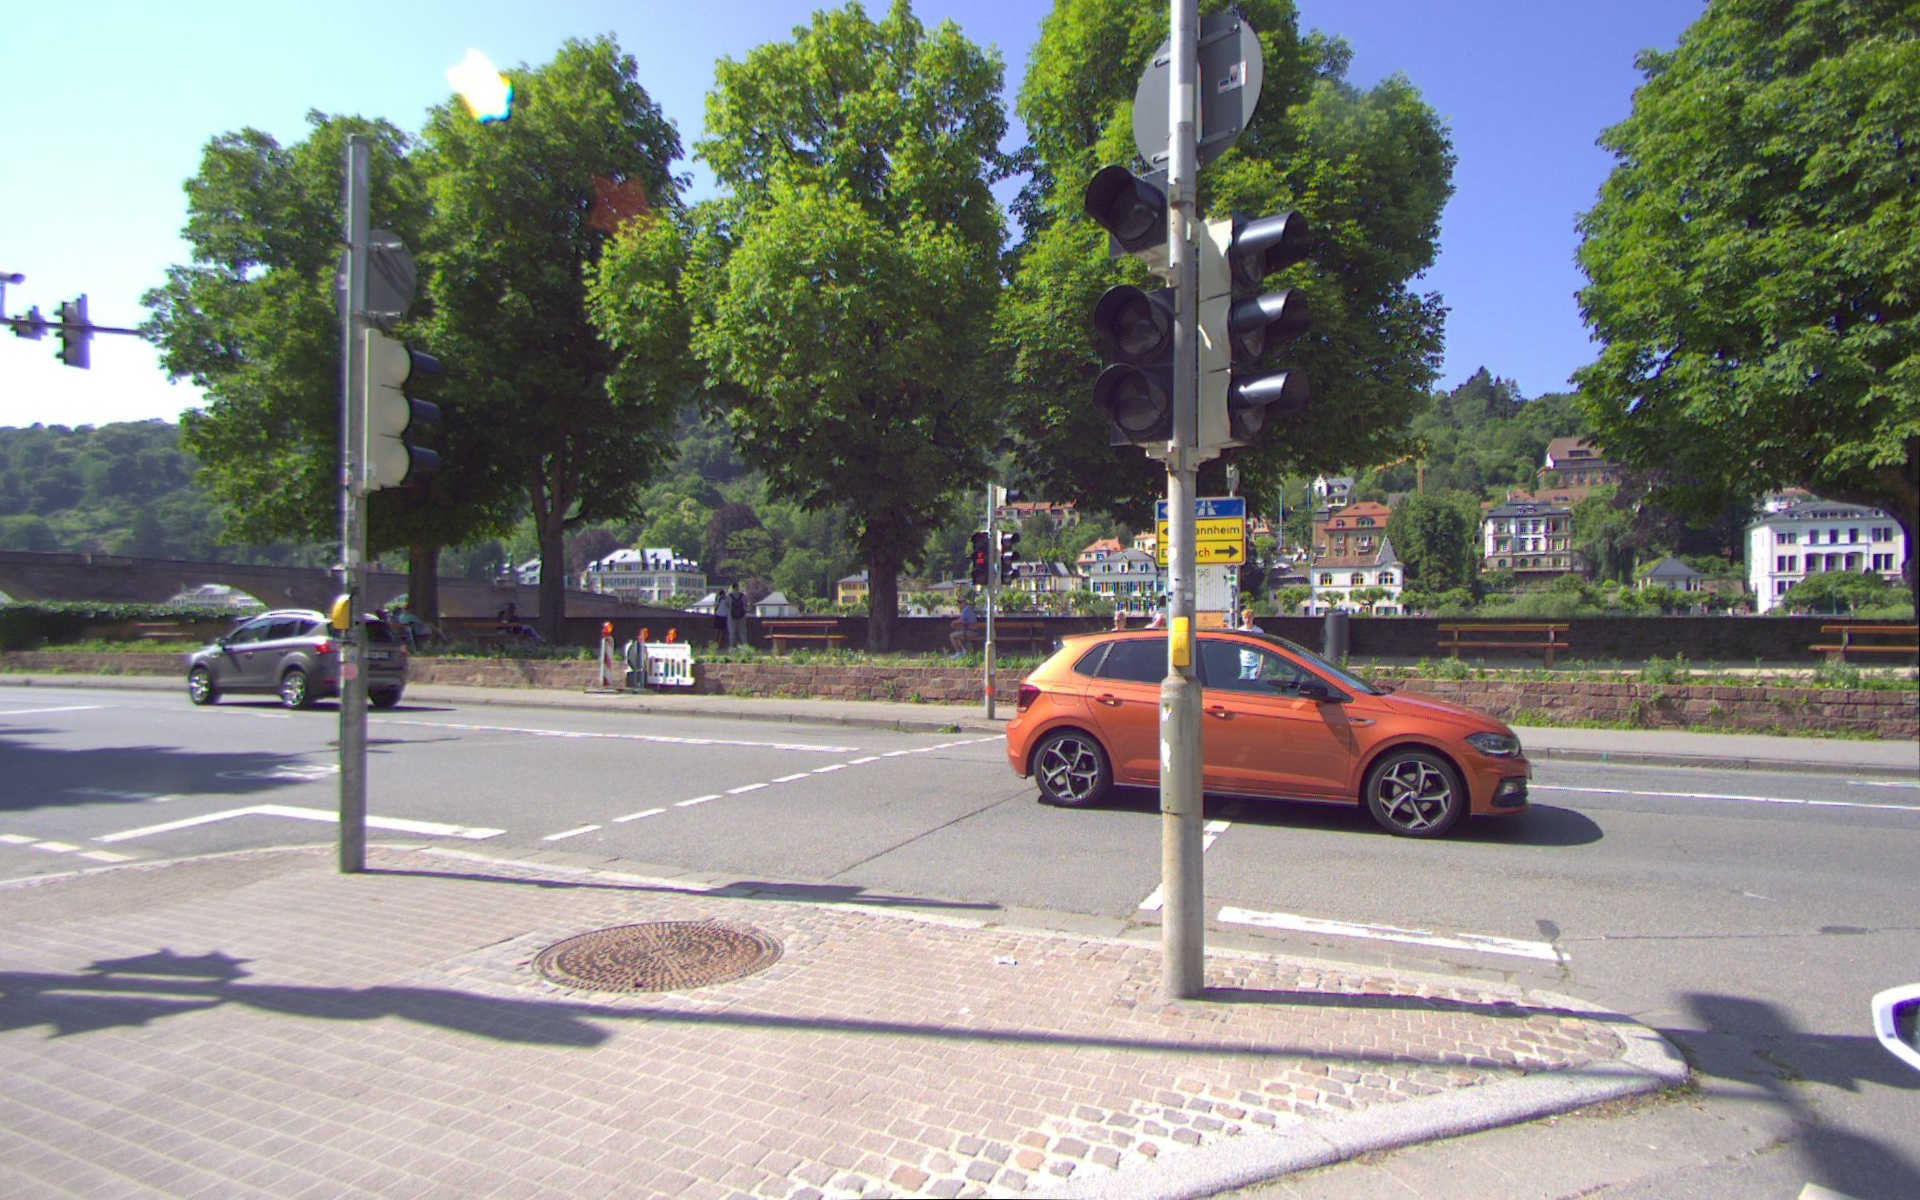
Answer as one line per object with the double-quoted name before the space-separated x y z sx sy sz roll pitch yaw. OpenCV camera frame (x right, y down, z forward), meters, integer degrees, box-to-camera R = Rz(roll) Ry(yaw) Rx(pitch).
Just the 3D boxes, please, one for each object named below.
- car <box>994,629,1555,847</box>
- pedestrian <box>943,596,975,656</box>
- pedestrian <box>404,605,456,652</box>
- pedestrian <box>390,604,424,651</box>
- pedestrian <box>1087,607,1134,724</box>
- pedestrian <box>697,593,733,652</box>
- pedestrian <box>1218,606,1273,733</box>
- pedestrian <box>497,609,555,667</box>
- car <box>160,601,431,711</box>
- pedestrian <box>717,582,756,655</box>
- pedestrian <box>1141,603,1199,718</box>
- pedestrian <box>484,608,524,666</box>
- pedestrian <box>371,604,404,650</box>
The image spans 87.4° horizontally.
"car" 2.424 0.957 8.184 3.940 1.424 1.730 0 -2 22
"pedestrian" -0.011 0.545 21.045 0.630 1.244 0.414 -1 -3 6
"pedestrian" -14.729 0.797 27.924 0.460 1.287 1.223 0 -2 27
"pedestrian" -15.348 0.775 27.886 0.460 1.287 0.631 0 -2 27
"pedestrian" 2.414 1.046 16.079 0.621 1.825 0.724 -1 -4 19
"pedestrian" -7.313 0.677 30.043 0.696 1.754 0.757 1 -2 19
"pedestrian" 4.230 1.009 14.870 0.692 1.825 0.579 0 -2 26
"pedestrian" -11.355 1.000 26.321 0.460 1.499 1.383 0 -2 27
"car" -12.120 1.006 18.350 4.323 1.776 1.845 1 -5 21
"pedestrian" -5.897 0.502 26.562 0.749 1.882 0.757 1 -2 6
"pedestrian" 3.378 0.961 16.137 0.679 1.793 0.715 -1 -2 35
"pedestrian" -11.946 0.972 26.338 0.460 1.512 0.804 0 -2 27
"pedestrian" -16.123 0.758 28.284 0.460 1.287 0.631 0 -2 27
